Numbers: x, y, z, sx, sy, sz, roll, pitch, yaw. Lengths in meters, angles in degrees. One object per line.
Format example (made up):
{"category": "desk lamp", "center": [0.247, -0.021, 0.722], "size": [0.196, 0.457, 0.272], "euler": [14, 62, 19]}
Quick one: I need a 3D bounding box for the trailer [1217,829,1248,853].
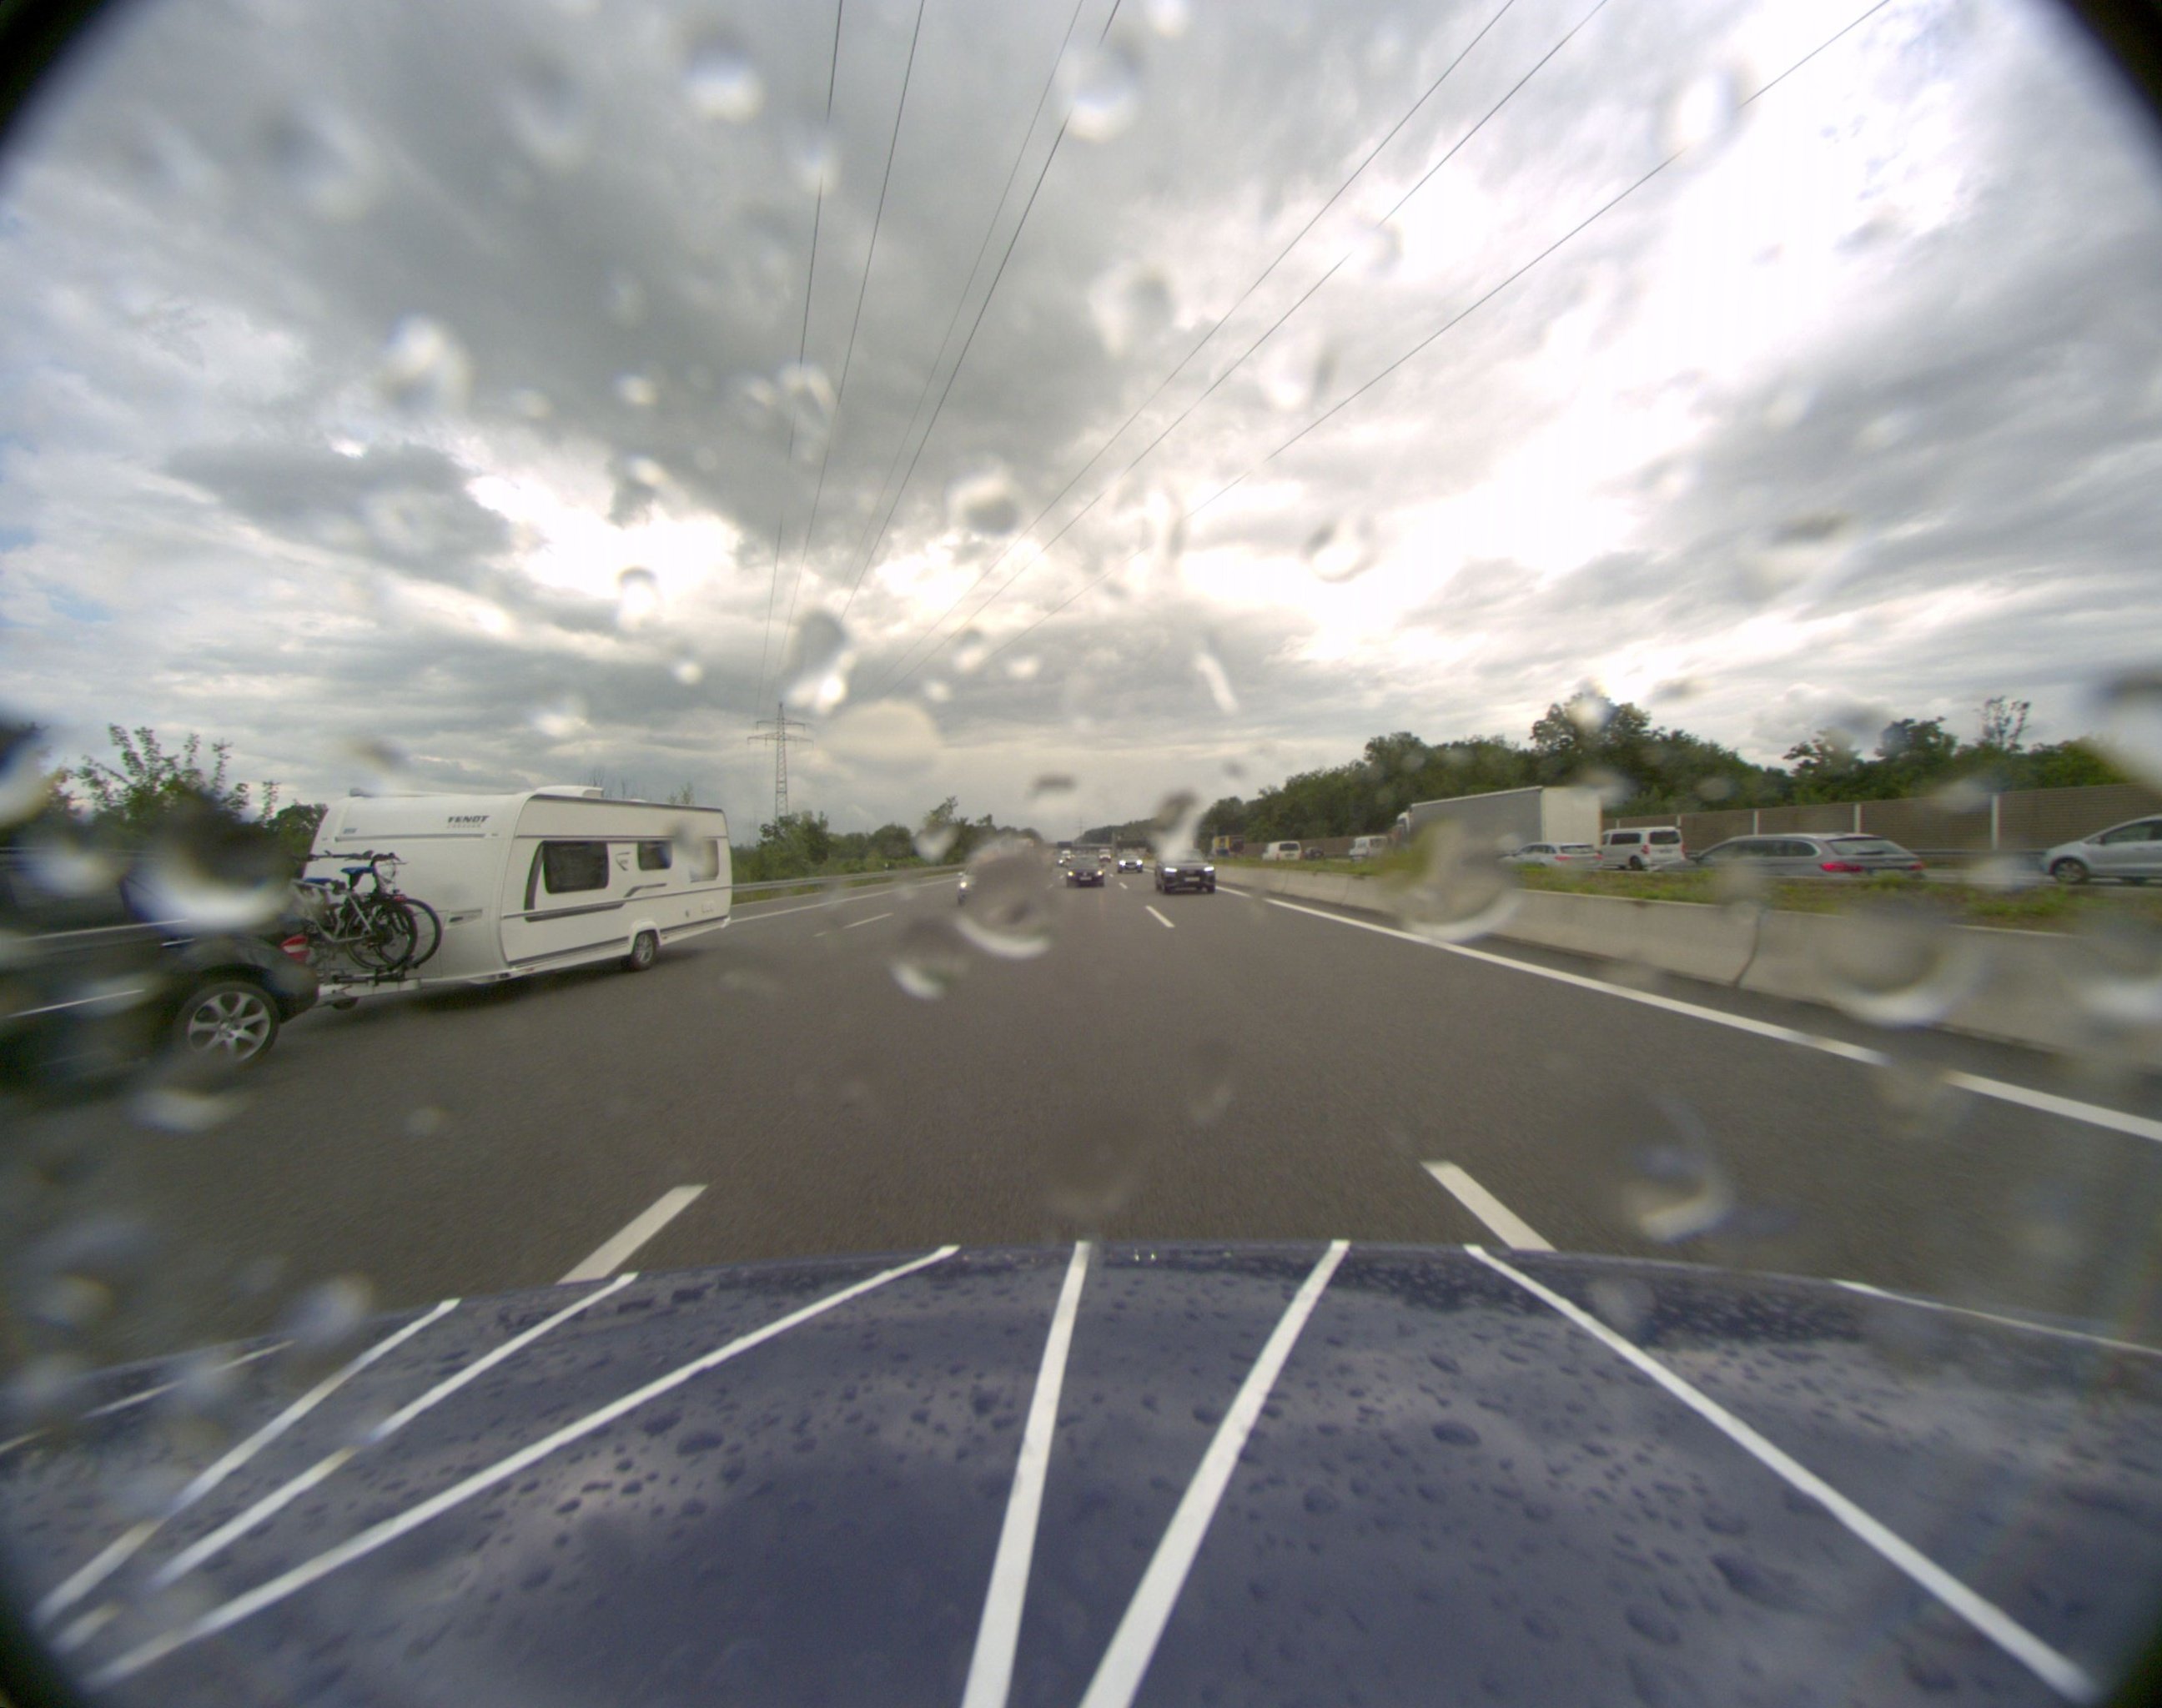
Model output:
{"category": "trailer", "center": [26.669, -2.200, 134.422], "size": [2.684, 3.941, 14.051], "euler": [-2, 0, 1]}

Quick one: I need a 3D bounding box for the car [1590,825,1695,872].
{"category": "car", "center": [26.233, -0.242, 35.660], "size": [2.007, 2.002, 4.000], "euler": [-2, 1, 2]}

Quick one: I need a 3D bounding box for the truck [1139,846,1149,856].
{"category": "truck", "center": [18.605, -1.016, 226.218], "size": [2.335, 2.812, 6.248], "euler": [-2, 1, 0]}

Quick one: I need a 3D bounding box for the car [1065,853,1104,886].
{"category": "car", "center": [0.190, 0.715, 36.611], "size": [1.717, 1.437, 4.000], "euler": [-2, 0, 1]}

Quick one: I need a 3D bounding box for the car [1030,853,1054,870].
{"category": "car", "center": [-3.543, 0.643, 69.973], "size": [1.840, 1.437, 4.000], "euler": [-2, 0, 1]}

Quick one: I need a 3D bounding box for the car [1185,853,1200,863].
{"category": "car", "center": [18.959, 0.610, 128.988], "size": [1.770, 1.528, 5.240], "euler": [-2, 0, 0]}

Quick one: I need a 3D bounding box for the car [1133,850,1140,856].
{"category": "car", "center": [15.084, -0.249, 206.076], "size": [1.592, 1.528, 3.548], "euler": [-2, 1, 0]}

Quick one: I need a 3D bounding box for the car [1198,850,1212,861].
{"category": "car", "center": [22.995, 0.250, 141.287], "size": [1.770, 1.883, 5.038], "euler": [-2, 1, 0]}

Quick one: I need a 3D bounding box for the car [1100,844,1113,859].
{"category": "car", "center": [4.326, -0.407, 130.565], "size": [1.998, 2.524, 4.808], "euler": [-2, 1, 1]}

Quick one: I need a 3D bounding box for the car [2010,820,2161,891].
{"category": "car", "center": [25.730, 0.013, 17.838], "size": [1.770, 1.601, 4.942], "euler": [-2, 1, 0]}

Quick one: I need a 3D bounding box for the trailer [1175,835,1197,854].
{"category": "trailer", "center": [22.448, -1.952, 163.005], "size": [2.732, 3.863, 14.050], "euler": [-2, 0, 0]}

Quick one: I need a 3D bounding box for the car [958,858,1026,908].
{"category": "car", "center": [-2.904, 0.905, 25.583], "size": [1.683, 1.437, 4.000], "euler": [-2, 0, 1]}

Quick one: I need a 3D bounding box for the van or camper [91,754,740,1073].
{"category": "van or camper", "center": [-7.463, 0.499, 10.298], "size": [2.390, 2.723, 7.207], "euler": [-2, 1, -1]}

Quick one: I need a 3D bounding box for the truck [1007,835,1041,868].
{"category": "truck", "center": [-6.630, -0.326, 89.831], "size": [2.870, 3.633, 9.594], "euler": [-2, 1, 1]}

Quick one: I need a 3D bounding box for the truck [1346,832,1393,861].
{"category": "truck", "center": [26.412, -0.683, 69.758], "size": [2.121, 2.403, 5.796], "euler": [-2, 1, 2]}

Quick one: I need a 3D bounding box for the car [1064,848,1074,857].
{"category": "car", "center": [-2.699, -0.344, 170.739], "size": [1.998, 2.002, 4.000], "euler": [-2, 1, 1]}

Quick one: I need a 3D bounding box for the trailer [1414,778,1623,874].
{"category": "trailer", "center": [21.920, -1.281, 39.663], "size": [3.327, 4.038, 13.287], "euler": [-2, 1, 1]}

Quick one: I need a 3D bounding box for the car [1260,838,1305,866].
{"category": "car", "center": [14.895, -0.148, 56.353], "size": [1.927, 1.888, 5.160], "euler": [-2, 1, 0]}

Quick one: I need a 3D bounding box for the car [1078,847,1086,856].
{"category": "car", "center": [0.256, -0.620, 190.812], "size": [1.998, 2.002, 4.000], "euler": [-2, 1, 1]}

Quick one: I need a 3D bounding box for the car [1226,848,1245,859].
{"category": "car", "center": [22.812, -0.030, 112.529], "size": [1.770, 1.528, 5.160], "euler": [-2, 1, 0]}

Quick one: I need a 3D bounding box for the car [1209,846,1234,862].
{"category": "car", "center": [14.746, -0.018, 80.204], "size": [1.770, 1.528, 4.482], "euler": [-2, 1, 0]}

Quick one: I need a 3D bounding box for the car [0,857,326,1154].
{"category": "car", "center": [-7.490, 0.955, 4.290], "size": [1.925, 1.766, 4.501], "euler": [-2, 1, -1]}

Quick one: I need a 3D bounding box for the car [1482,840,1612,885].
{"category": "car", "center": [17.602, 0.273, 29.045], "size": [1.770, 1.528, 5.160], "euler": [-2, 1, 0]}

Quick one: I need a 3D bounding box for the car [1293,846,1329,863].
{"category": "car", "center": [21.796, 0.029, 72.215], "size": [1.770, 1.528, 5.160], "euler": [-2, 1, 0]}

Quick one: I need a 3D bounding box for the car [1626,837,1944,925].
{"category": "car", "center": [13.876, 0.439, 15.539], "size": [1.770, 1.446, 5.085], "euler": [-2, 0, 0]}

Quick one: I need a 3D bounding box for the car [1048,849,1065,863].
{"category": "car", "center": [-3.102, 0.277, 98.021], "size": [1.998, 1.701, 3.999], "euler": [-2, 1, 0]}

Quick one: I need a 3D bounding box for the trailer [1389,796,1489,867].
{"category": "trailer", "center": [22.025, -1.338, 47.195], "size": [3.327, 4.020, 6.078], "euler": [-2, 1, 1]}

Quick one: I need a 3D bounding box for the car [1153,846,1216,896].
{"category": "car", "center": [3.869, 0.578, 29.219], "size": [1.913, 1.681, 5.169], "euler": [-2, 1, 3]}

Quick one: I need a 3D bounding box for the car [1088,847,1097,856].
{"category": "car", "center": [2.707, -0.599, 177.031], "size": [1.998, 2.002, 4.000], "euler": [-2, 1, 1]}

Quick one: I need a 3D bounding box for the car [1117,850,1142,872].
{"category": "car", "center": [3.808, 0.498, 59.980], "size": [1.840, 1.615, 4.915], "euler": [-2, 0, 3]}
